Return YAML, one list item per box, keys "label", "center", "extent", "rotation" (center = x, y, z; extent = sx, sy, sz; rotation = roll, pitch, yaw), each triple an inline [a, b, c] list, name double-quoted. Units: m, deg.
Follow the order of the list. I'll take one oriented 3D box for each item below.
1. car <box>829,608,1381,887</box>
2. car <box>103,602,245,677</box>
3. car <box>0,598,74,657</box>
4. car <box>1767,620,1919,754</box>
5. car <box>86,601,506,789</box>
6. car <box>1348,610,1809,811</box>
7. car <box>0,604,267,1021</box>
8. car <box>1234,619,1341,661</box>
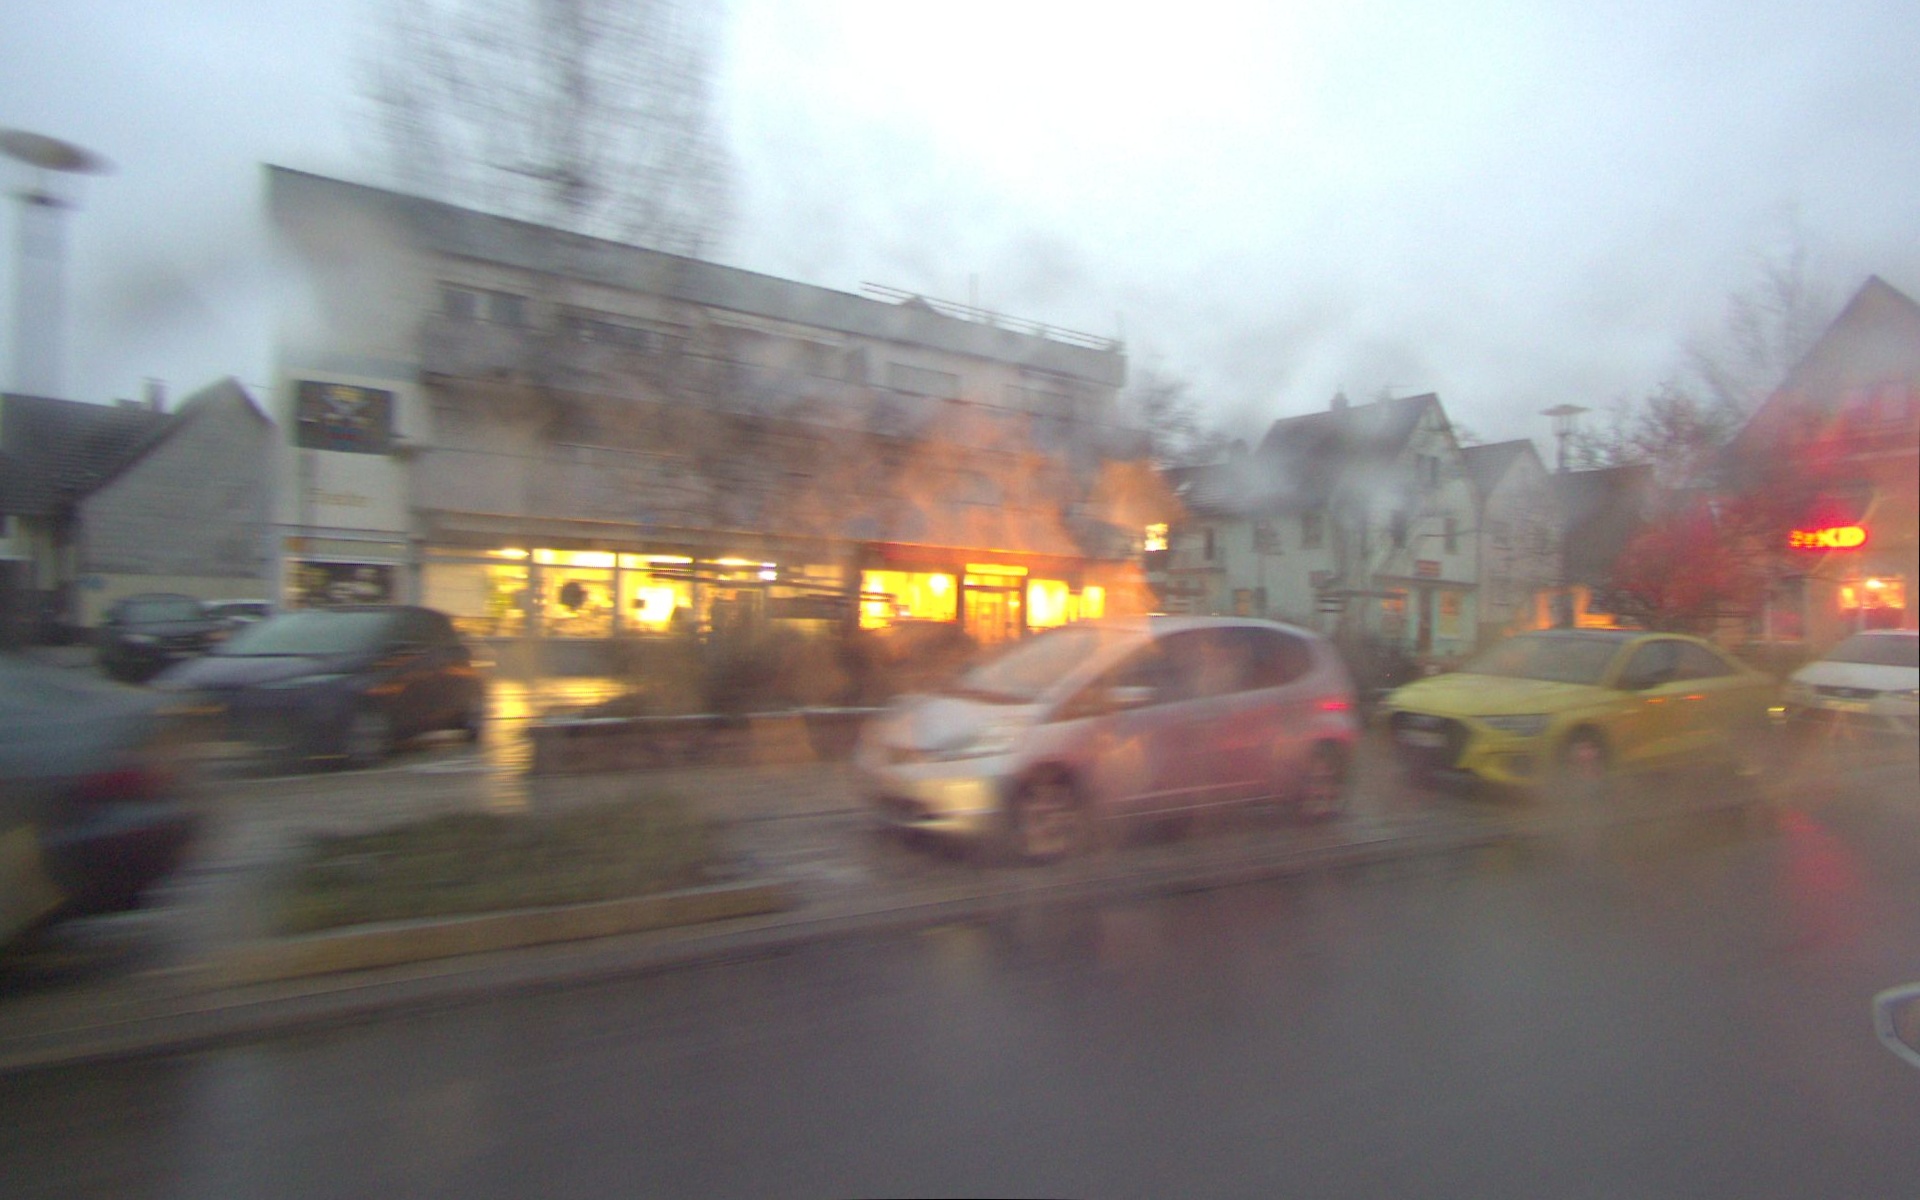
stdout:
- label: "car"
  center: [1.112, 0.871, 7.308]
  extent: [3.728, 1.536, 1.684]
  rotation: [1, 0, -30]
- label: "car"
  center: [-17.148, 0.815, 22.109]
  extent: [1.854, 1.486, 3.969]
  rotation: [1, -1, -29]
- label: "car"
  center: [-30.670, 0.888, 33.239]
  extent: [3.946, 1.824, 1.744]
  rotation: [-1, -1, 45]
- label: "car"
  center: [12.879, 1.096, 13.519]
  extent: [3.949, 1.536, 1.663]
  rotation: [1, 1, -27]
- label: "car"
  center: [-6.249, 0.832, 10.127]
  extent: [1.706, 1.496, 4.087]
  rotation: [0, -2, -4]
- label: "car"
  center: [5.975, 0.926, 9.648]
  extent: [4.285, 1.536, 1.743]
  rotation: [1, 1, -26]
- label: "car"
  center: [-5.307, 0.749, 3.639]
  extent: [4.404, 1.492, 1.739]
  rotation: [1, 0, -29]
- label: "car"
  center: [13.147, 1.569, 40.465]
  extent: [1.602, 1.539, 3.859]
  rotation: [1, -1, -40]
